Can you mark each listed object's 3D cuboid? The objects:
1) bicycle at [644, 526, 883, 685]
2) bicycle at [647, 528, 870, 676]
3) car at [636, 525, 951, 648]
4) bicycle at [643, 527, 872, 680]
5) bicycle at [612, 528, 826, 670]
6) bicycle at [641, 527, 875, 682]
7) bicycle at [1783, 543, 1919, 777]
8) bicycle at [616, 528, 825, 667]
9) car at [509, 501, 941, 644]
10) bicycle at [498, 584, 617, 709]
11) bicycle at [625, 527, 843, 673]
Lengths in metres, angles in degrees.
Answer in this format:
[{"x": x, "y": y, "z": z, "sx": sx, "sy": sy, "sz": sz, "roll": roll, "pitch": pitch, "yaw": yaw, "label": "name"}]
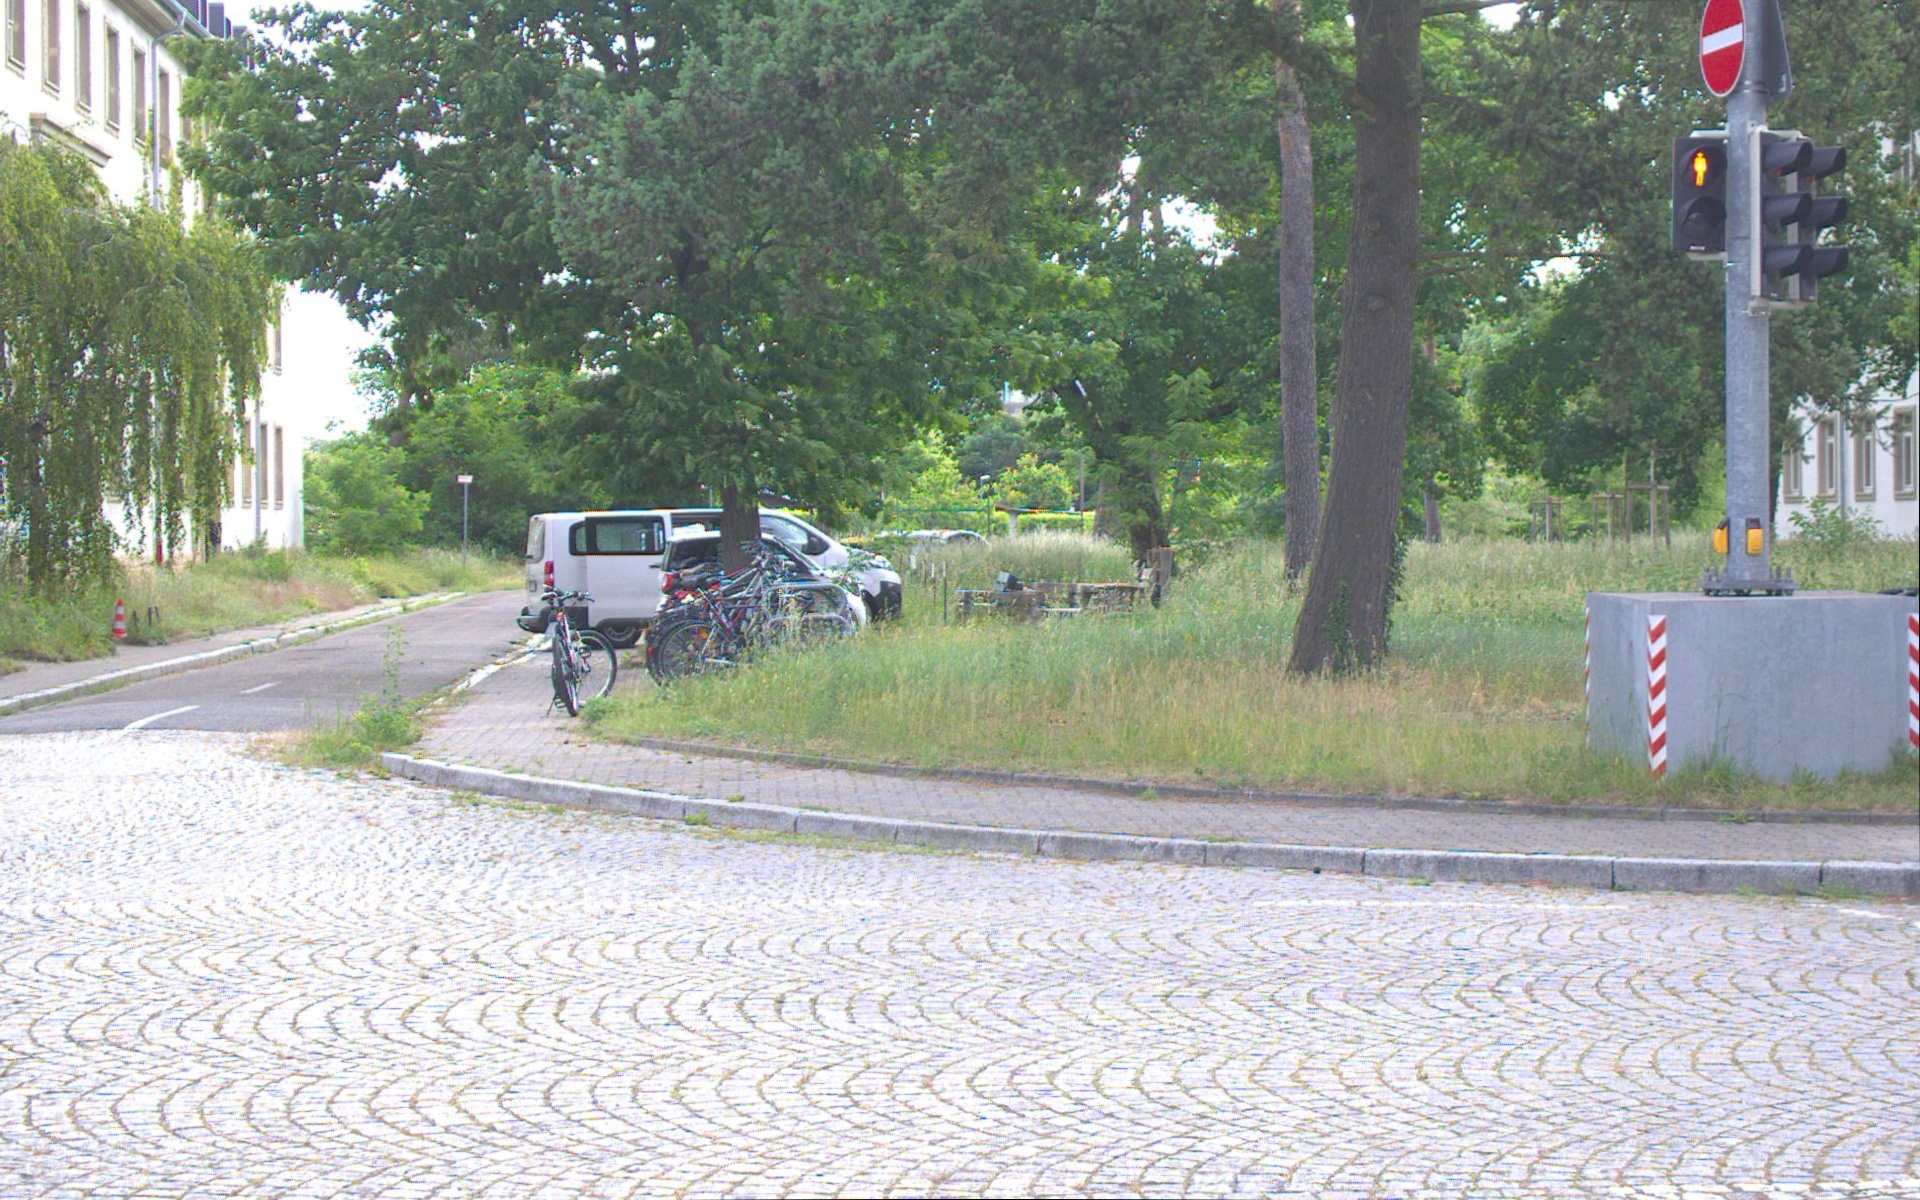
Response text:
[{"x": -1.721, "y": 0.043, "z": 30.240, "sx": 2.069, "sy": 1.373, "sz": 0.620, "roll": 0, "pitch": 1, "yaw": -3, "label": "bicycle"}, {"x": -1.891, "y": 0.012, "z": 32.327, "sx": 2.069, "sy": 1.373, "sz": 0.620, "roll": 0, "pitch": 1, "yaw": -3, "label": "bicycle"}, {"x": -2.198, "y": -0.198, "z": 44.756, "sx": 3.931, "sy": 1.539, "sz": 2.001, "roll": 0, "pitch": 1, "yaw": -8, "label": "car"}, {"x": -1.849, "y": 0.023, "z": 31.531, "sx": 2.069, "sy": 1.373, "sz": 0.620, "roll": 0, "pitch": 1, "yaw": -3, "label": "bicycle"}, {"x": -2.365, "y": -0.021, "z": 33.841, "sx": 2.069, "sy": 1.373, "sz": 0.620, "roll": 0, "pitch": 1, "yaw": -3, "label": "bicycle"}, {"x": -1.807, "y": 0.032, "z": 30.907, "sx": 2.069, "sy": 1.373, "sz": 0.620, "roll": 0, "pitch": 1, "yaw": -3, "label": "bicycle"}, {"x": 5.123, "y": 0.287, "z": 18.303, "sx": 0.908, "sy": 1.173, "sz": 1.875, "roll": 0, "pitch": 1, "yaw": -4, "label": "bicycle"}, {"x": -2.397, "y": -0.031, "z": 34.588, "sx": 2.069, "sy": 1.373, "sz": 0.620, "roll": 0, "pitch": 1, "yaw": -3, "label": "bicycle"}, {"x": -3.302, "y": -0.411, "z": 48.071, "sx": 5.690, "sy": 1.904, "sz": 2.231, "roll": -1, "pitch": 1, "yaw": -15, "label": "car"}, {"x": -3.302, "y": 0.365, "z": 28.366, "sx": 0.618, "sy": 0.960, "sz": 2.076, "roll": 0, "pitch": 1, "yaw": 3, "label": "bicycle"}, {"x": -2.167, "y": -0.008, "z": 33.112, "sx": 2.069, "sy": 1.373, "sz": 0.620, "roll": 0, "pitch": 1, "yaw": -3, "label": "bicycle"}]
